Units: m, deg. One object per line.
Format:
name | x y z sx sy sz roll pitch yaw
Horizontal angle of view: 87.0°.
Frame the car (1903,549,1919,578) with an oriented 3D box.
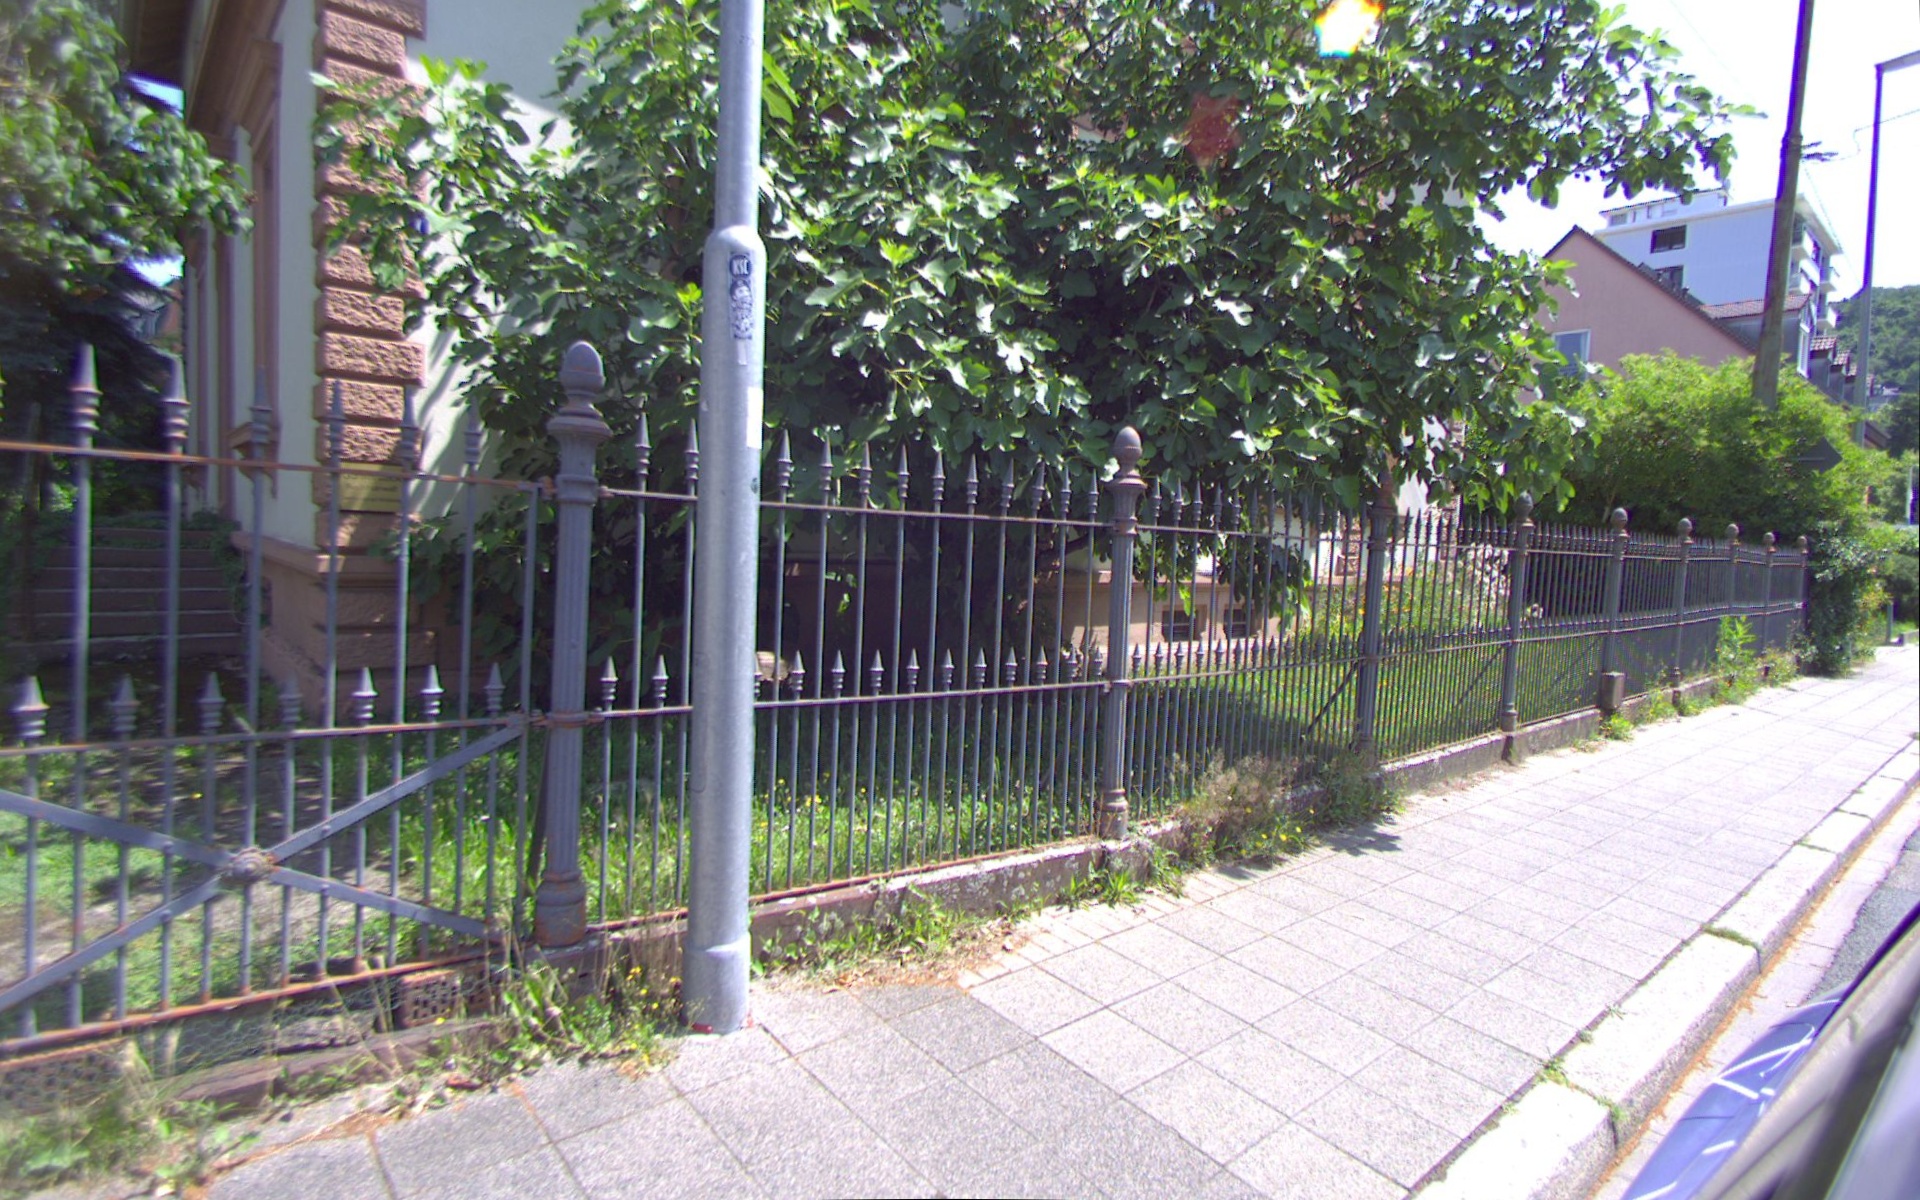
car | 62.183 -2.252 63.523 1.788 1.811 4.294 -1 3 -2
